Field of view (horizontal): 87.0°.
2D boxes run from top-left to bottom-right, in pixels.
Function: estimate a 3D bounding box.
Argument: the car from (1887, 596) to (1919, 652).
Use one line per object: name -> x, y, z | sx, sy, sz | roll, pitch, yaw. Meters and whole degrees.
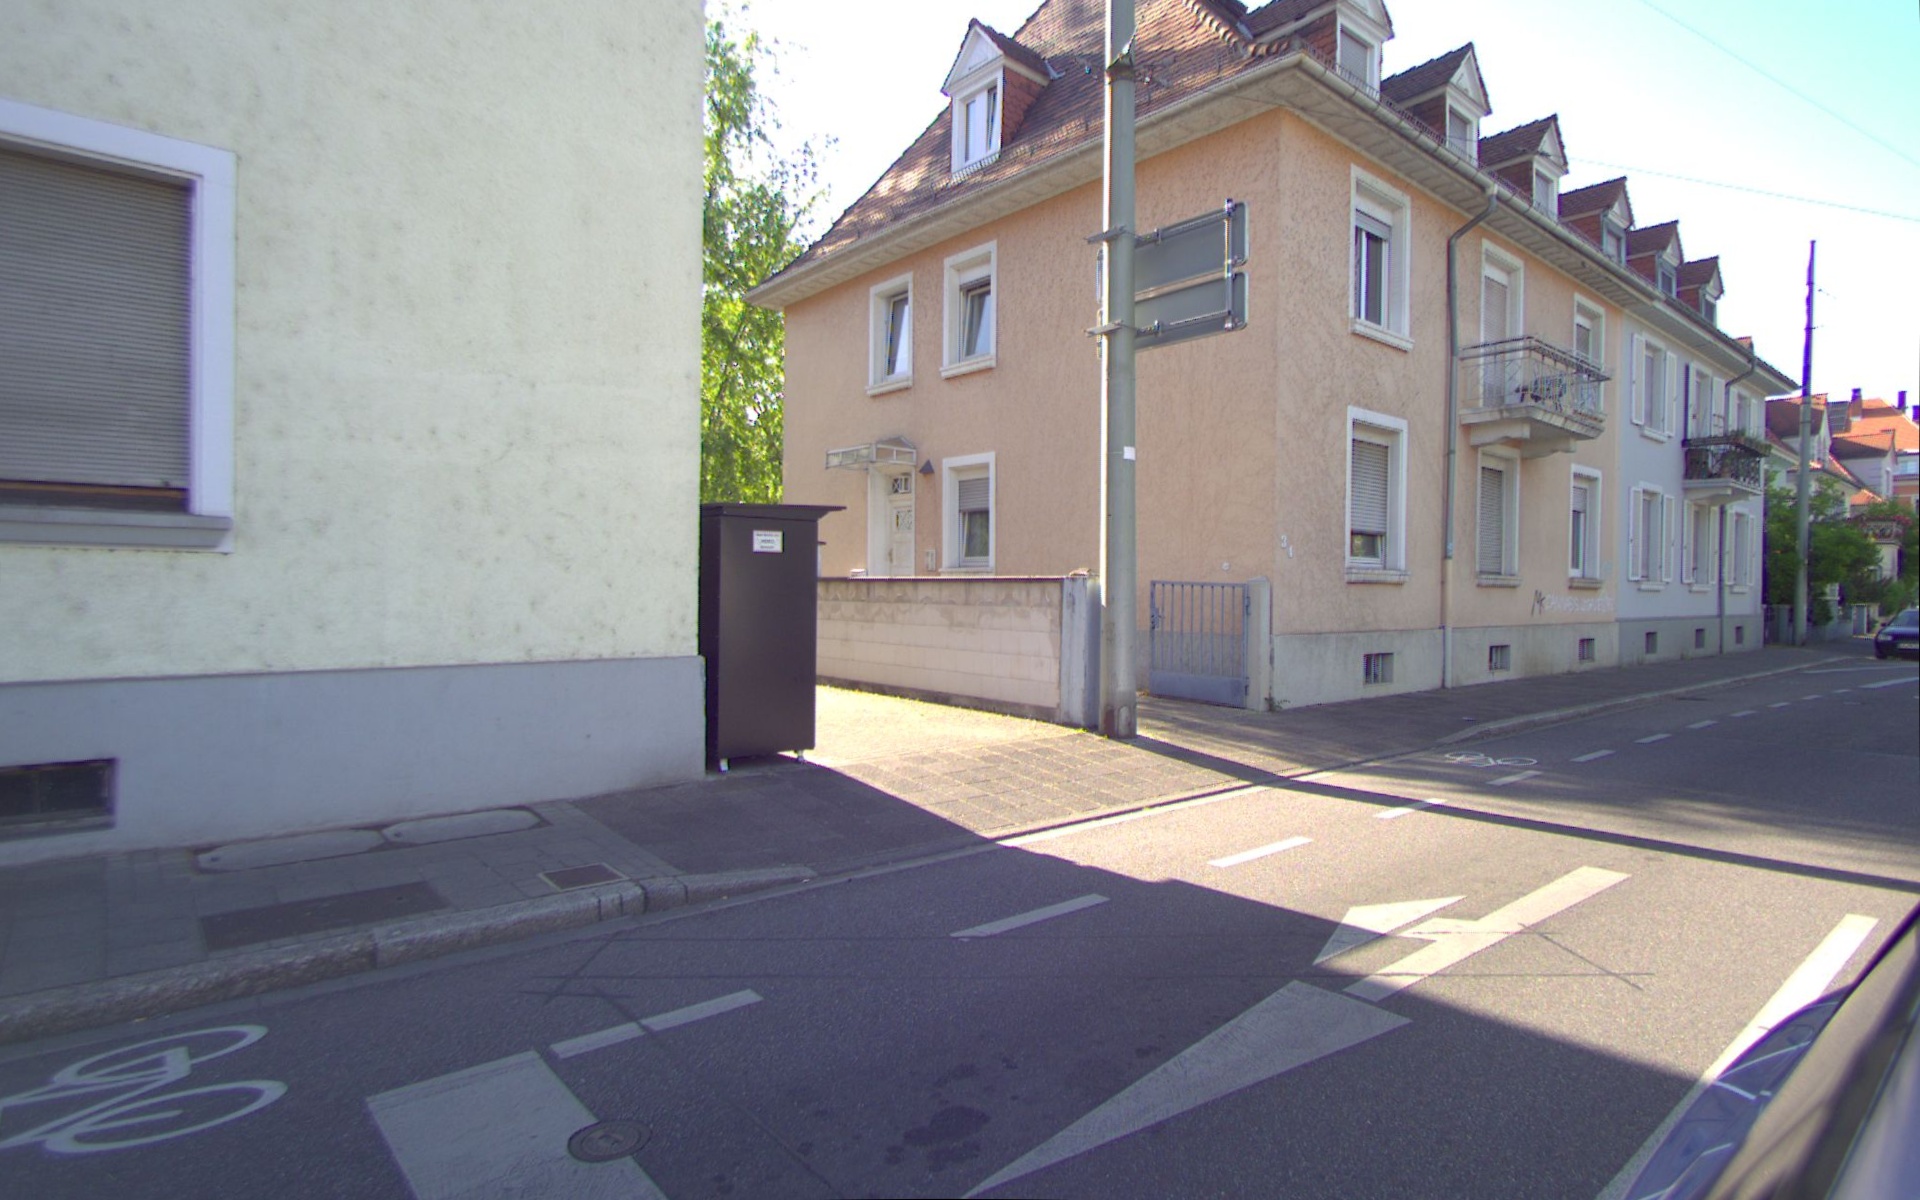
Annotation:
car -> 26.696, 0.628, 27.393 | 4.347, 1.425, 1.866 | 0, 1, -41
